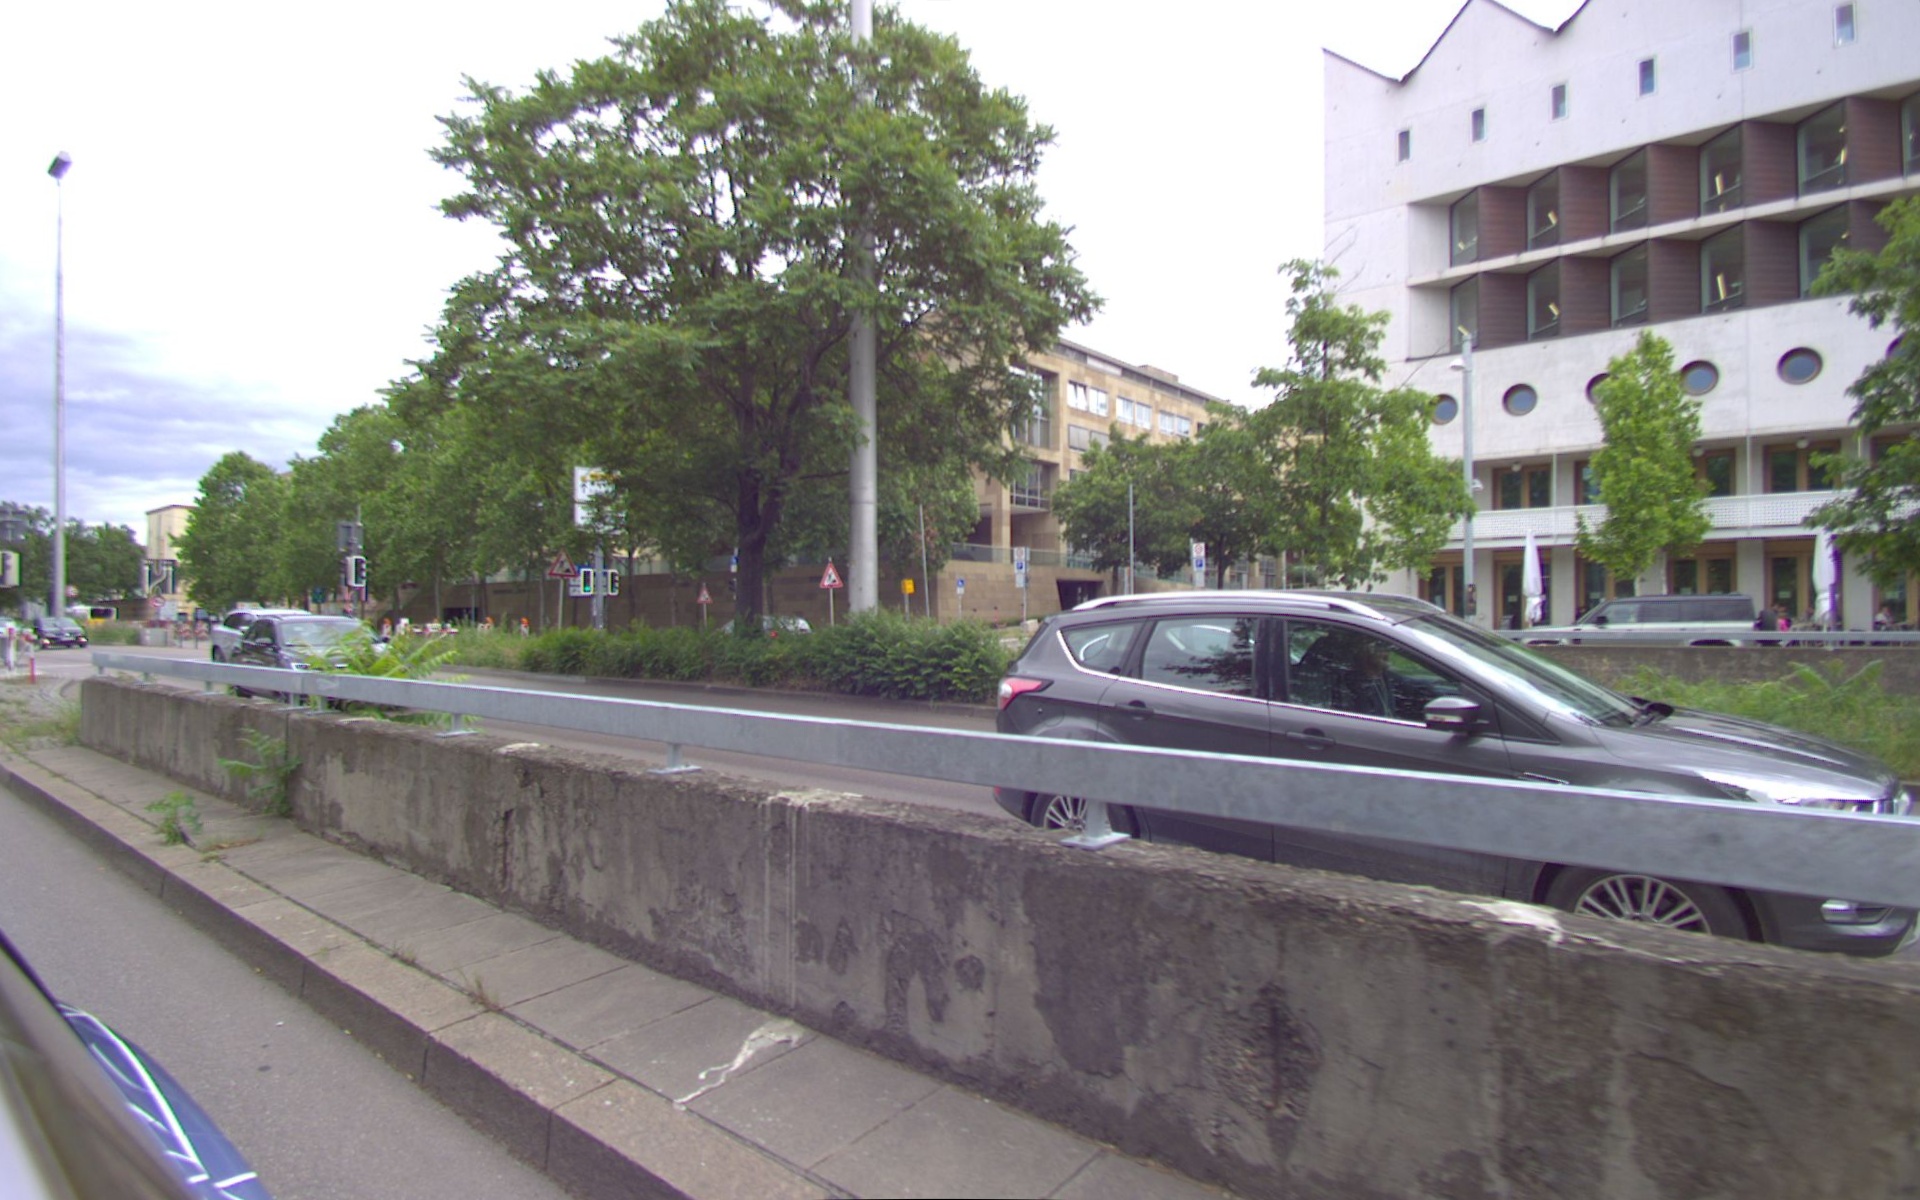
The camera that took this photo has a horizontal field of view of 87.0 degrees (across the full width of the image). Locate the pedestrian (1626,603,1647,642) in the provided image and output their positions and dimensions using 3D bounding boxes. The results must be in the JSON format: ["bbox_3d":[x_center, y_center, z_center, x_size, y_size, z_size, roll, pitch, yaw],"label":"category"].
[{"bbox_3d":[23.668,0.793,35.412,0.565,1.337,0.513,0,-1,41],"label":"pedestrian"}]

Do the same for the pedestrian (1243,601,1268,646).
[{"bbox_3d":[10.358,0.818,35.480,0.589,1.569,0.883,0,-1,-2],"label":"pedestrian"}]

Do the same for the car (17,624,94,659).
[{"bbox_3d":[-42.088,1.912,47.048,4.804,1.494,1.974,-2,-1,39],"label":"car"}]

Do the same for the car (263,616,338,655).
[{"bbox_3d":[-30.738,1.618,47.136,3.995,1.669,1.739,-1,2,39],"label":"car"}]

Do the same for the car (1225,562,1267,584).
[{"bbox_3d":[28.065,-2.612,99.442,3.683,2.029,1.567,-2,-1,42],"label":"car"}]

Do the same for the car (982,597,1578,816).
[{"bbox_3d":[2.675,0.780,9.241,4.806,1.494,1.973,-2,-1,41],"label":"car"}]

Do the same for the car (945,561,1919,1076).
[{"bbox_3d":[2.290,0.771,5.435,4.655,1.728,1.874,-2,0,41],"label":"car"}]

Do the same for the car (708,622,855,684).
[{"bbox_3d":[-4.919,1.384,27.732,3.995,1.472,1.739,-1,2,38],"label":"car"}]

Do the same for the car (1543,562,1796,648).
[{"bbox_3d":[15.486,0.160,22.281,4.386,1.730,1.839,-1,-2,38],"label":"car"}]

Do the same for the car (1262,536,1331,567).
[{"bbox_3d":[15.752,-2.287,47.267,1.750,1.285,3.947,-1,3,40],"label":"car"}]

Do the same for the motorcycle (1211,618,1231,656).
[{"bbox_3d":[9.057,1.272,35.084,0.653,1.243,1.880,1,-1,15],"label":"motorcycle"}]

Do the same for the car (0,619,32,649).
[{"bbox_3d":[-54.414,1.933,57.492,3.997,1.658,1.973,-2,0,40],"label":"car"}]

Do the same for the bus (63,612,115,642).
[{"bbox_3d":[-100.962,3.092,117.196,10.440,3.330,2.883,-1,-1,40],"label":"bus"}]

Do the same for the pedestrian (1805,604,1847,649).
[{"bbox_3d":[26.375,0.800,30.825,0.777,1.337,0.672,-1,-1,-23],"label":"pedestrian"}]

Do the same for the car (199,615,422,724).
[{"bbox_3d":[-10.733,1.040,16.631,4.145,1.527,1.747,-1,1,37],"label":"car"}]

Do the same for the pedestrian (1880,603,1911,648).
[{"bbox_3d":[28.418,0.761,30.749,0.651,1.337,0.625,-2,-1,43],"label":"pedestrian"}]

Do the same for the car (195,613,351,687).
[{"bbox_3d":[-16.869,1.140,24.752,4.735,1.629,1.973,-1,0,40],"label":"car"}]

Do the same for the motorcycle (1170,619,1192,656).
[{"bbox_3d":[7.855,1.304,35.967,0.653,1.243,1.880,1,-1,15],"label":"motorcycle"}]

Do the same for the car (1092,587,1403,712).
[{"bbox_3d":[4.492,0.752,16.173,4.439,1.730,1.839,-1,-2,38],"label":"car"}]
